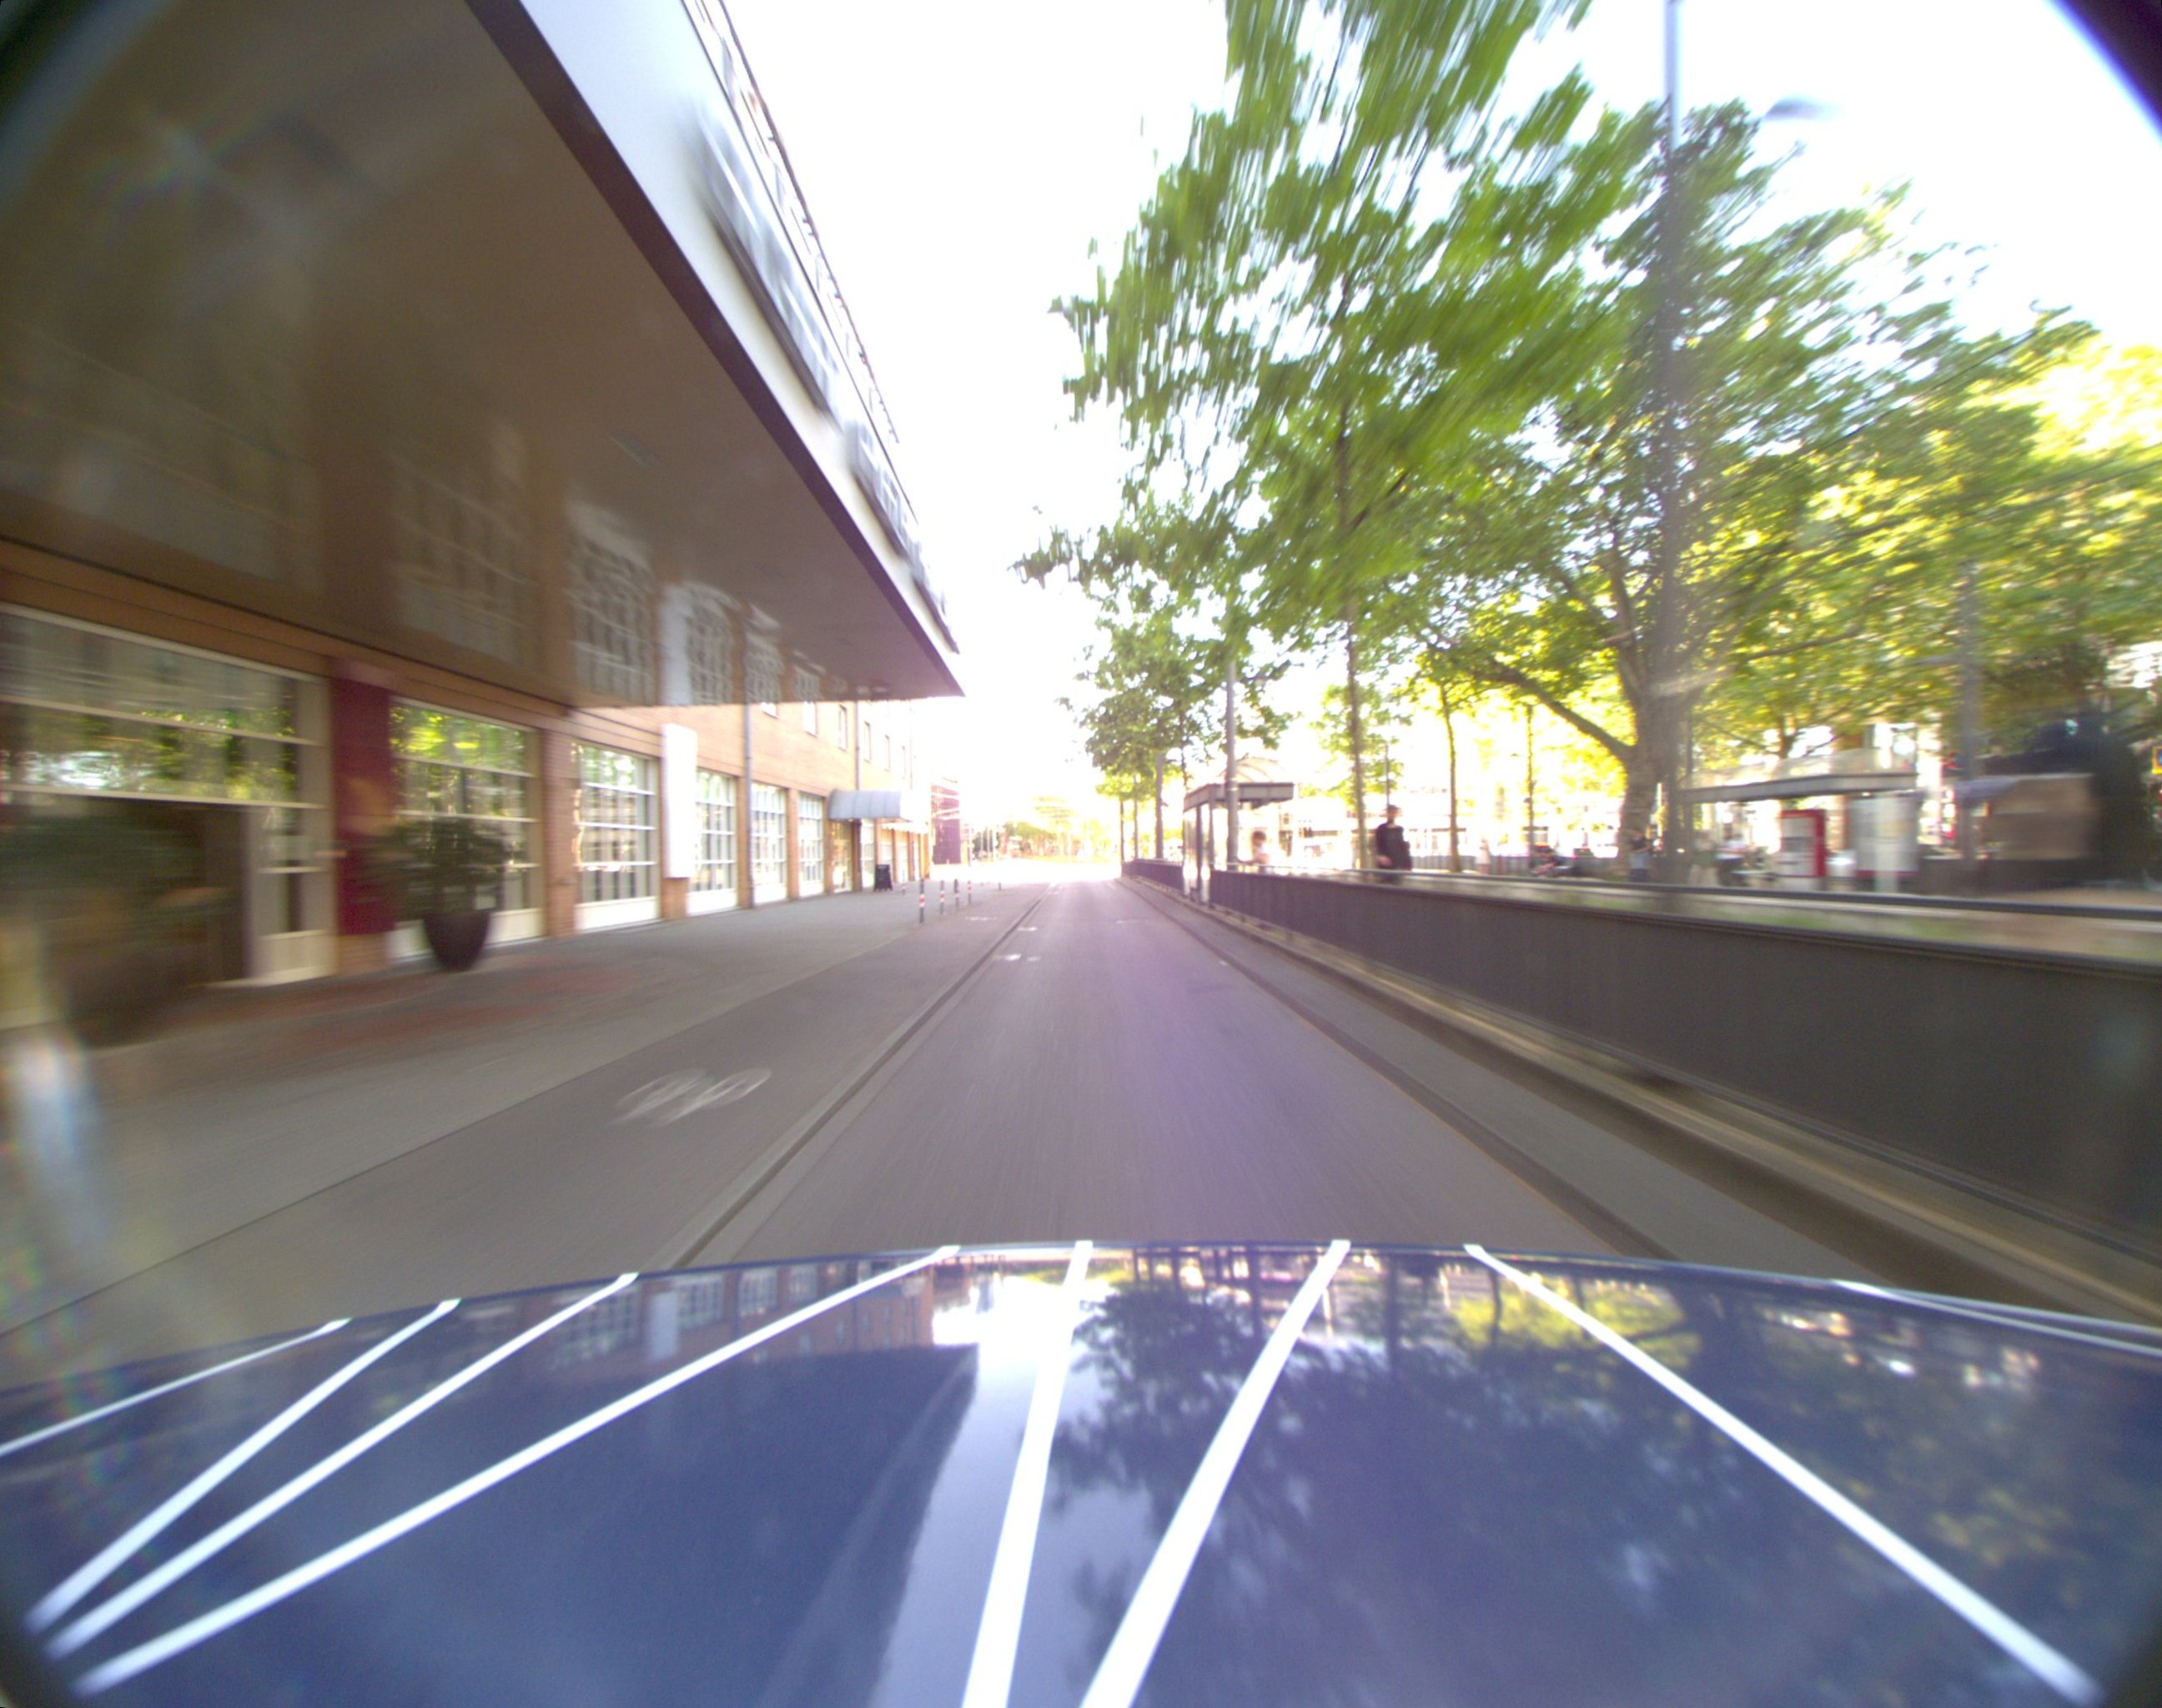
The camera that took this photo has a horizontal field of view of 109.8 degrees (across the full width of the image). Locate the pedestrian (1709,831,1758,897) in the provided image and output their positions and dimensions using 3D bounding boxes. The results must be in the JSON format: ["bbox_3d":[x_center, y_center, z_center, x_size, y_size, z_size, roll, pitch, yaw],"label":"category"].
[{"bbox_3d":[14.978,0.219,17.450,0.571,1.477,0.607,-2,0,-12],"label":"pedestrian"}]

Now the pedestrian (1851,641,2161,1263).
[{"bbox_3d":[3.409,0.279,2.592,0.708,1.791,0.826,-2,1,-7],"label":"pedestrian"}]

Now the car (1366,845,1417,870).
[{"bbox_3d":[19.683,0.211,48.339,1.871,1.447,3.342,-1,0,0],"label":"car"}]

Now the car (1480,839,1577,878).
[{"bbox_3d":[19.627,0.174,33.545,1.998,1.630,4.000,0,0,1],"label":"car"}]

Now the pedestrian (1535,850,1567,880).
[{"bbox_3d":[16.554,0.391,26.758,0.723,1.034,0.698,-1,1,8],"label":"pedestrian"}]

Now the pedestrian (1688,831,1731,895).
[{"bbox_3d":[14.929,0.205,18.062,0.554,1.488,0.550,-2,1,-12],"label":"pedestrian"}]

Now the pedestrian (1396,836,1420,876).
[{"bbox_3d":[14.171,0.075,32.923,0.686,1.686,0.698,-2,1,-8],"label":"pedestrian"}]

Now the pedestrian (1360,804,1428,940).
[{"bbox_3d":[4.381,0.246,10.662,0.648,1.829,0.638,-1,1,-1],"label":"pedestrian"}]

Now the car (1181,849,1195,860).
[{"bbox_3d":[15.358,0.035,108.600,1.908,1.474,4.290,-1,0,9],"label":"car"}]

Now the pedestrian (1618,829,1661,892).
[{"bbox_3d":[15.063,0.169,20.501,0.669,1.632,0.669,-2,1,-12],"label":"pedestrian"}]

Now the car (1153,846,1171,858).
[{"bbox_3d":[13.323,-0.368,124.888,1.996,1.772,4.005,-3,0,20],"label":"car"}]

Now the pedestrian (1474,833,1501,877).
[{"bbox_3d":[16.243,0.047,30.379,0.698,1.730,0.637,-2,1,-8],"label":"pedestrian"}]

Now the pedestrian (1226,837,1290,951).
[{"bbox_3d":[2.733,0.608,11.787,0.742,1.680,0.645,-4,1,-1],"label":"pedestrian"}]

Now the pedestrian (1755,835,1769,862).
[{"bbox_3d":[43.024,-0.322,47.985,0.624,1.673,0.531,-1,1,44],"label":"pedestrian"}]

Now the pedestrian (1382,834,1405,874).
[{"bbox_3d":[13.801,0.010,33.579,0.656,1.744,0.676,-2,1,-8],"label":"pedestrian"}]
